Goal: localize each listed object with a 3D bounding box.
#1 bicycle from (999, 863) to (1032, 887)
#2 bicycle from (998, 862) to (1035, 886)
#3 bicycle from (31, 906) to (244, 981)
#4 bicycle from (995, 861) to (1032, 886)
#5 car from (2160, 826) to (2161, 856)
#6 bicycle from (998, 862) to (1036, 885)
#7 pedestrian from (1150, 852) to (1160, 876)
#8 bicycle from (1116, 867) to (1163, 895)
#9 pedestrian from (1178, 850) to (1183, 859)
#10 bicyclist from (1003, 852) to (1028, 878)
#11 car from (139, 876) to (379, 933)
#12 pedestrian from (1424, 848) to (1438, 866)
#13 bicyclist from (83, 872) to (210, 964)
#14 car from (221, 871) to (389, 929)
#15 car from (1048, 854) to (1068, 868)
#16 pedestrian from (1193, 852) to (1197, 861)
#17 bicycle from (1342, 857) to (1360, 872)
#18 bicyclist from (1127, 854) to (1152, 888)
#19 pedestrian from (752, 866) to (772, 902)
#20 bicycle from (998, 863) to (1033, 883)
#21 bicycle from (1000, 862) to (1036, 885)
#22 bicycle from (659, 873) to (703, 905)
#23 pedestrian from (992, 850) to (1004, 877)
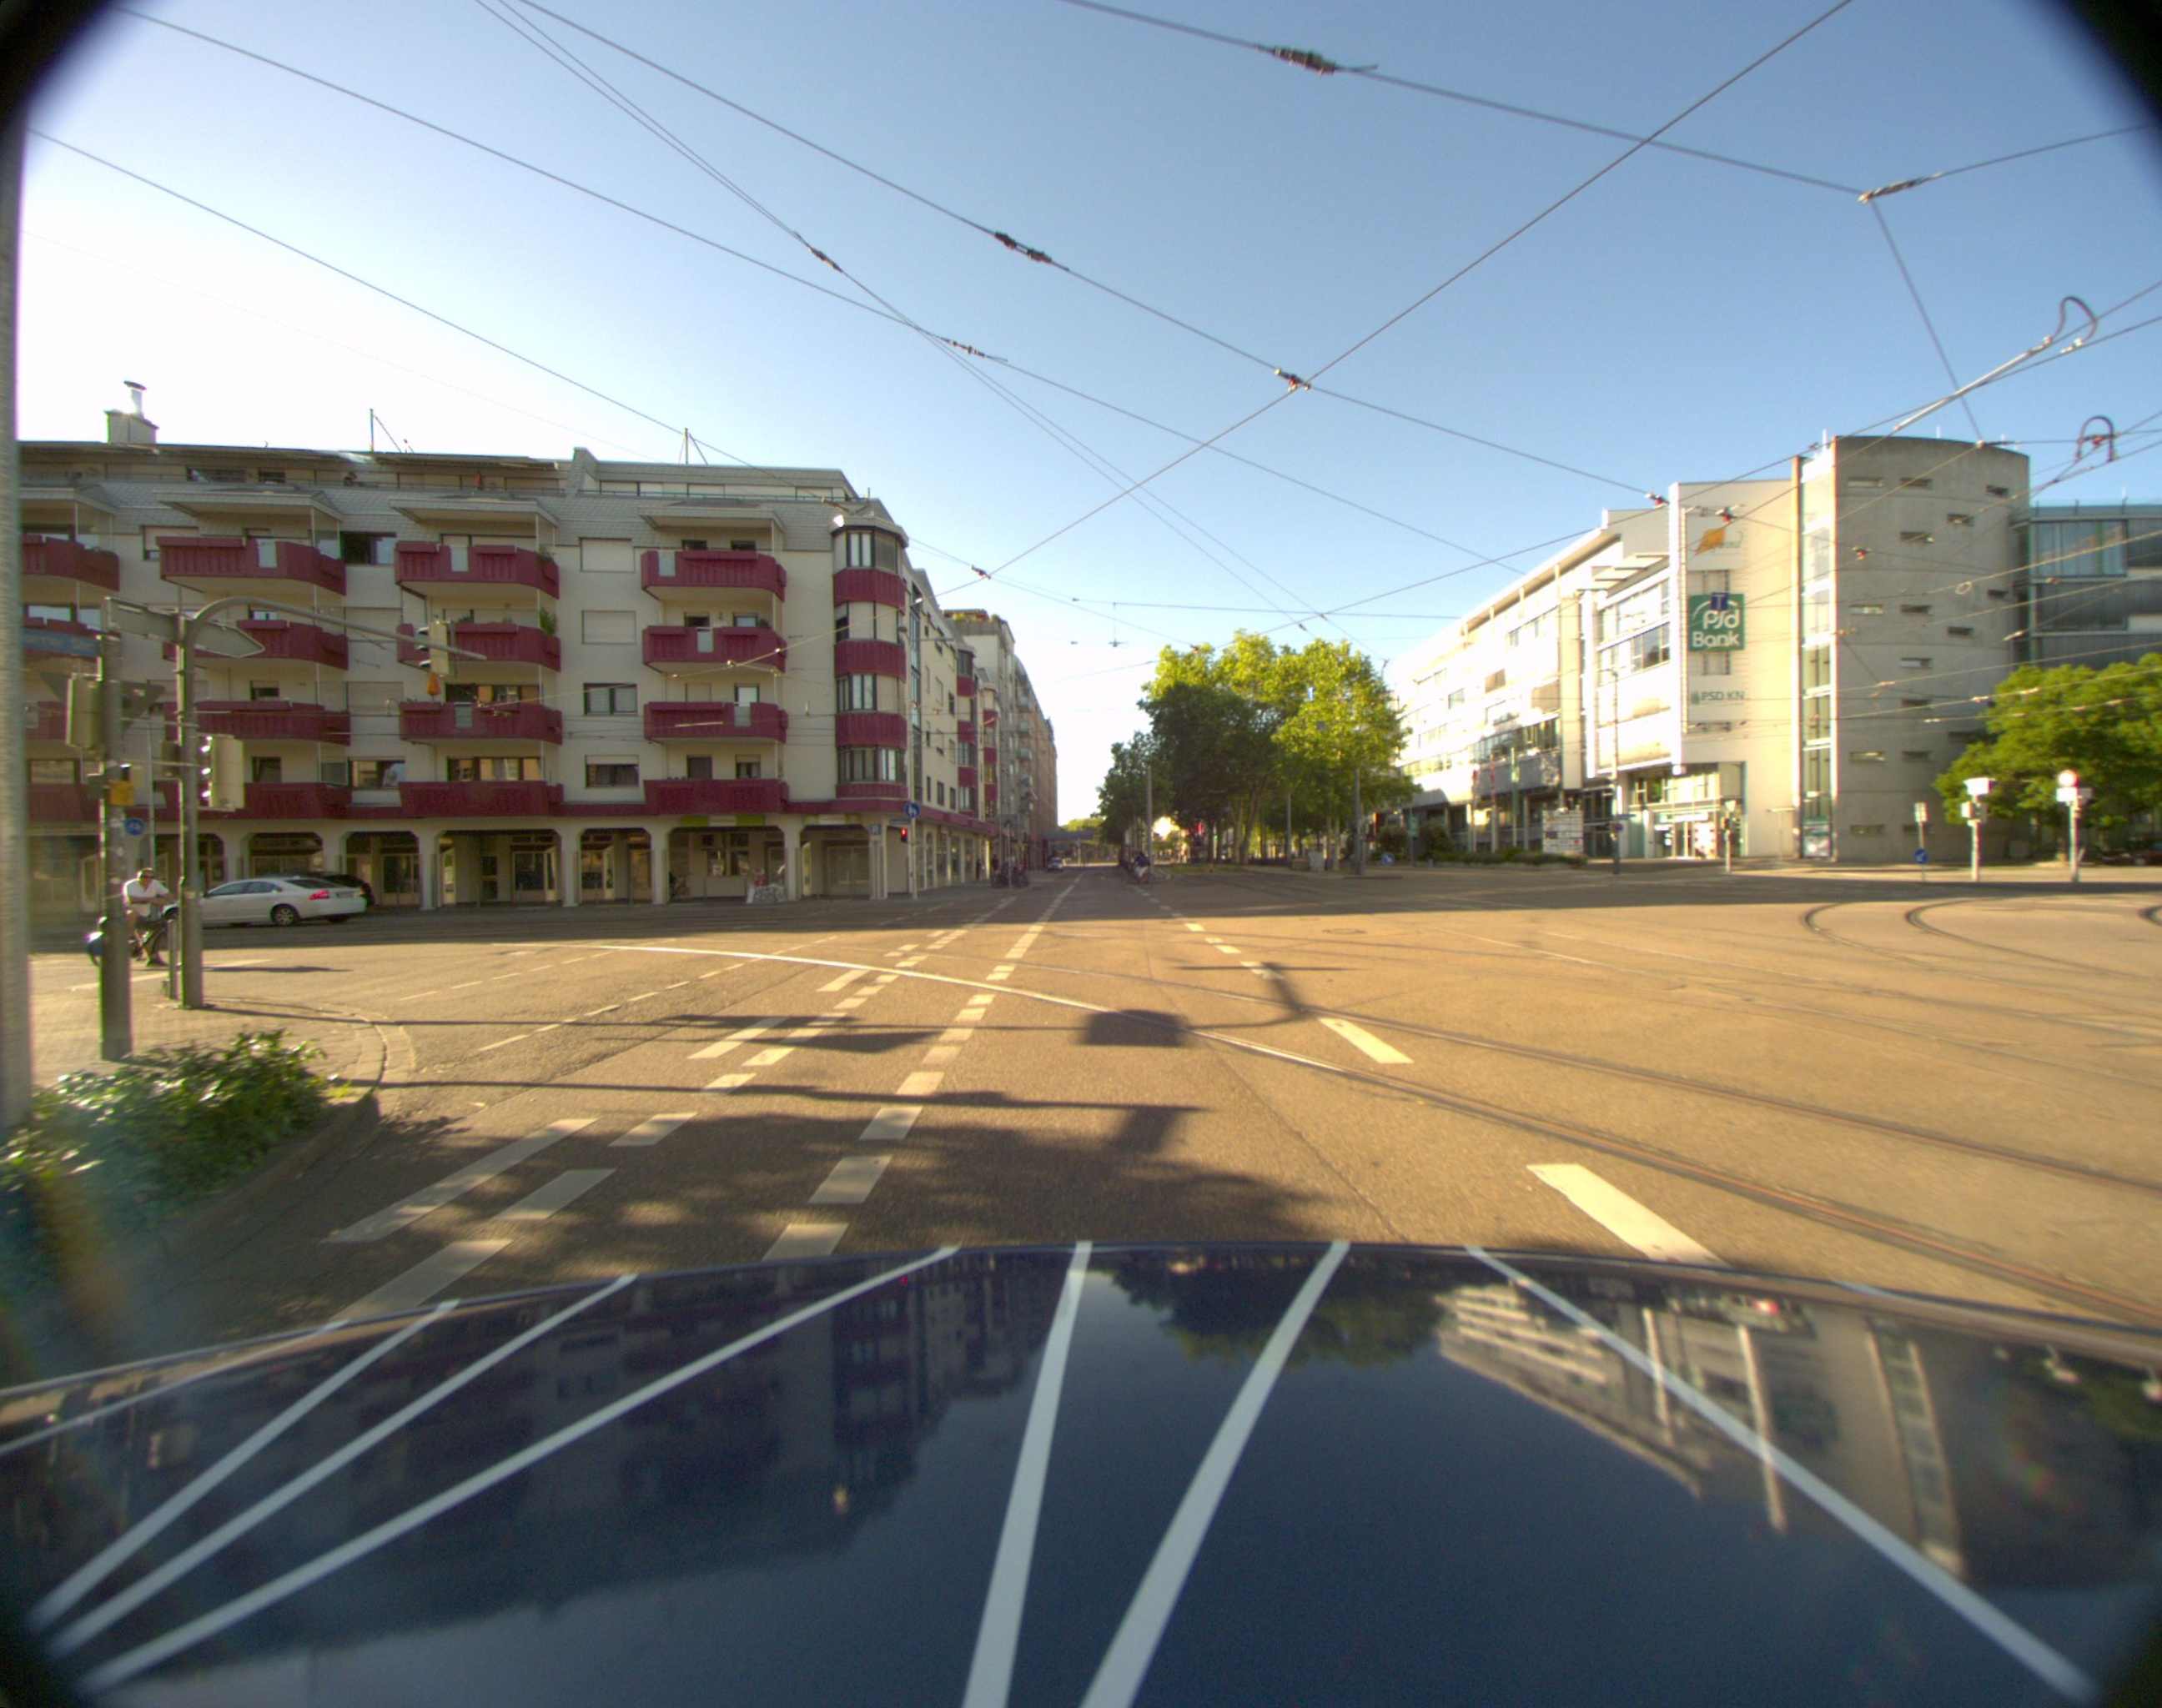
[{"bbox_3d":[-3.395,1.074,39.636,1.626,1.192,0.496,-1,1,6],"label":"bicycle"},{"bbox_3d":[-3.422,1.081,40.208,1.835,1.213,0.496,-2,1,5],"label":"bicycle"},{"bbox_3d":[-16.384,1.529,13.263,2.331,1.112,0.845,-2,0,-9],"label":"bicycle"},{"bbox_3d":[-3.453,0.989,38.888,1.805,1.193,0.546,-1,2,6],"label":"bicycle"},{"bbox_3d":[61.929,-0.776,41.333,3.950,1.644,1.735,-2,1,1],"label":"car"},{"bbox_3d":[-3.459,1.044,41.091,1.982,1.192,0.591,-1,1,-2],"label":"bicycle"},{"bbox_3d":[5.593,0.737,57.337,0.735,1.736,0.712,-2,0,7],"label":"pedestrian"},{"bbox_3d":[2.666,1.222,34.562,2.044,1.182,0.590,-2,1,-15],"label":"bicycle"},{"bbox_3d":[18.958,0.034,144.909,0.656,1.744,0.676,-2,0,-6],"label":"pedestrian"},{"bbox_3d":[-4.062,0.686,47.132,1.057,1.531,1.081,-1,1,25],"label":"bicyclist"},{"bbox_3d":[-24.563,1.476,22.878,4.898,1.447,1.854,-2,0,-5],"label":"car"},{"bbox_3d":[32.588,0.270,70.754,0.908,1.583,0.767,-1,1,1],"label":"pedestrian"},{"bbox_3d":[-16.284,1.080,13.279,0.928,1.500,1.011,-2,0,-9],"label":"bicyclist"},{"bbox_3d":[-26.702,1.557,26.255,3.905,1.674,1.738,-3,1,0],"label":"car"},{"bbox_3d":[-2.598,0.778,86.508,1.837,1.613,4.285,1,0,3],"label":"car"},{"bbox_3d":[19.412,0.469,129.360,0.554,1.488,0.550,-2,0,-9],"label":"pedestrian"},{"bbox_3d":[17.723,0.712,49.915,0.814,0.940,1.727,-2,0,8],"label":"bicycle"},{"bbox_3d":[2.673,0.757,34.564,0.882,1.485,0.722,-2,1,-15],"label":"bicyclist"},{"bbox_3d":[-12.547,1.170,29.879,0.664,1.342,0.655,-2,0,-25],"label":"pedestrian"},{"bbox_3d":[-4.030,1.158,47.170,0.961,1.176,2.602,-1,0,25],"label":"bicycle"},{"bbox_3d":[-3.454,1.061,41.716,1.945,1.163,0.572,-1,1,-1],"label":"bicycle"},{"bbox_3d":[-15.627,1.337,29.655,1.793,1.192,0.617,-1,1,29],"label":"bicycle"},{"bbox_3d":[-5.791,0.665,53.121,0.724,1.847,0.801,-1,1,1],"label":"pedestrian"}]
